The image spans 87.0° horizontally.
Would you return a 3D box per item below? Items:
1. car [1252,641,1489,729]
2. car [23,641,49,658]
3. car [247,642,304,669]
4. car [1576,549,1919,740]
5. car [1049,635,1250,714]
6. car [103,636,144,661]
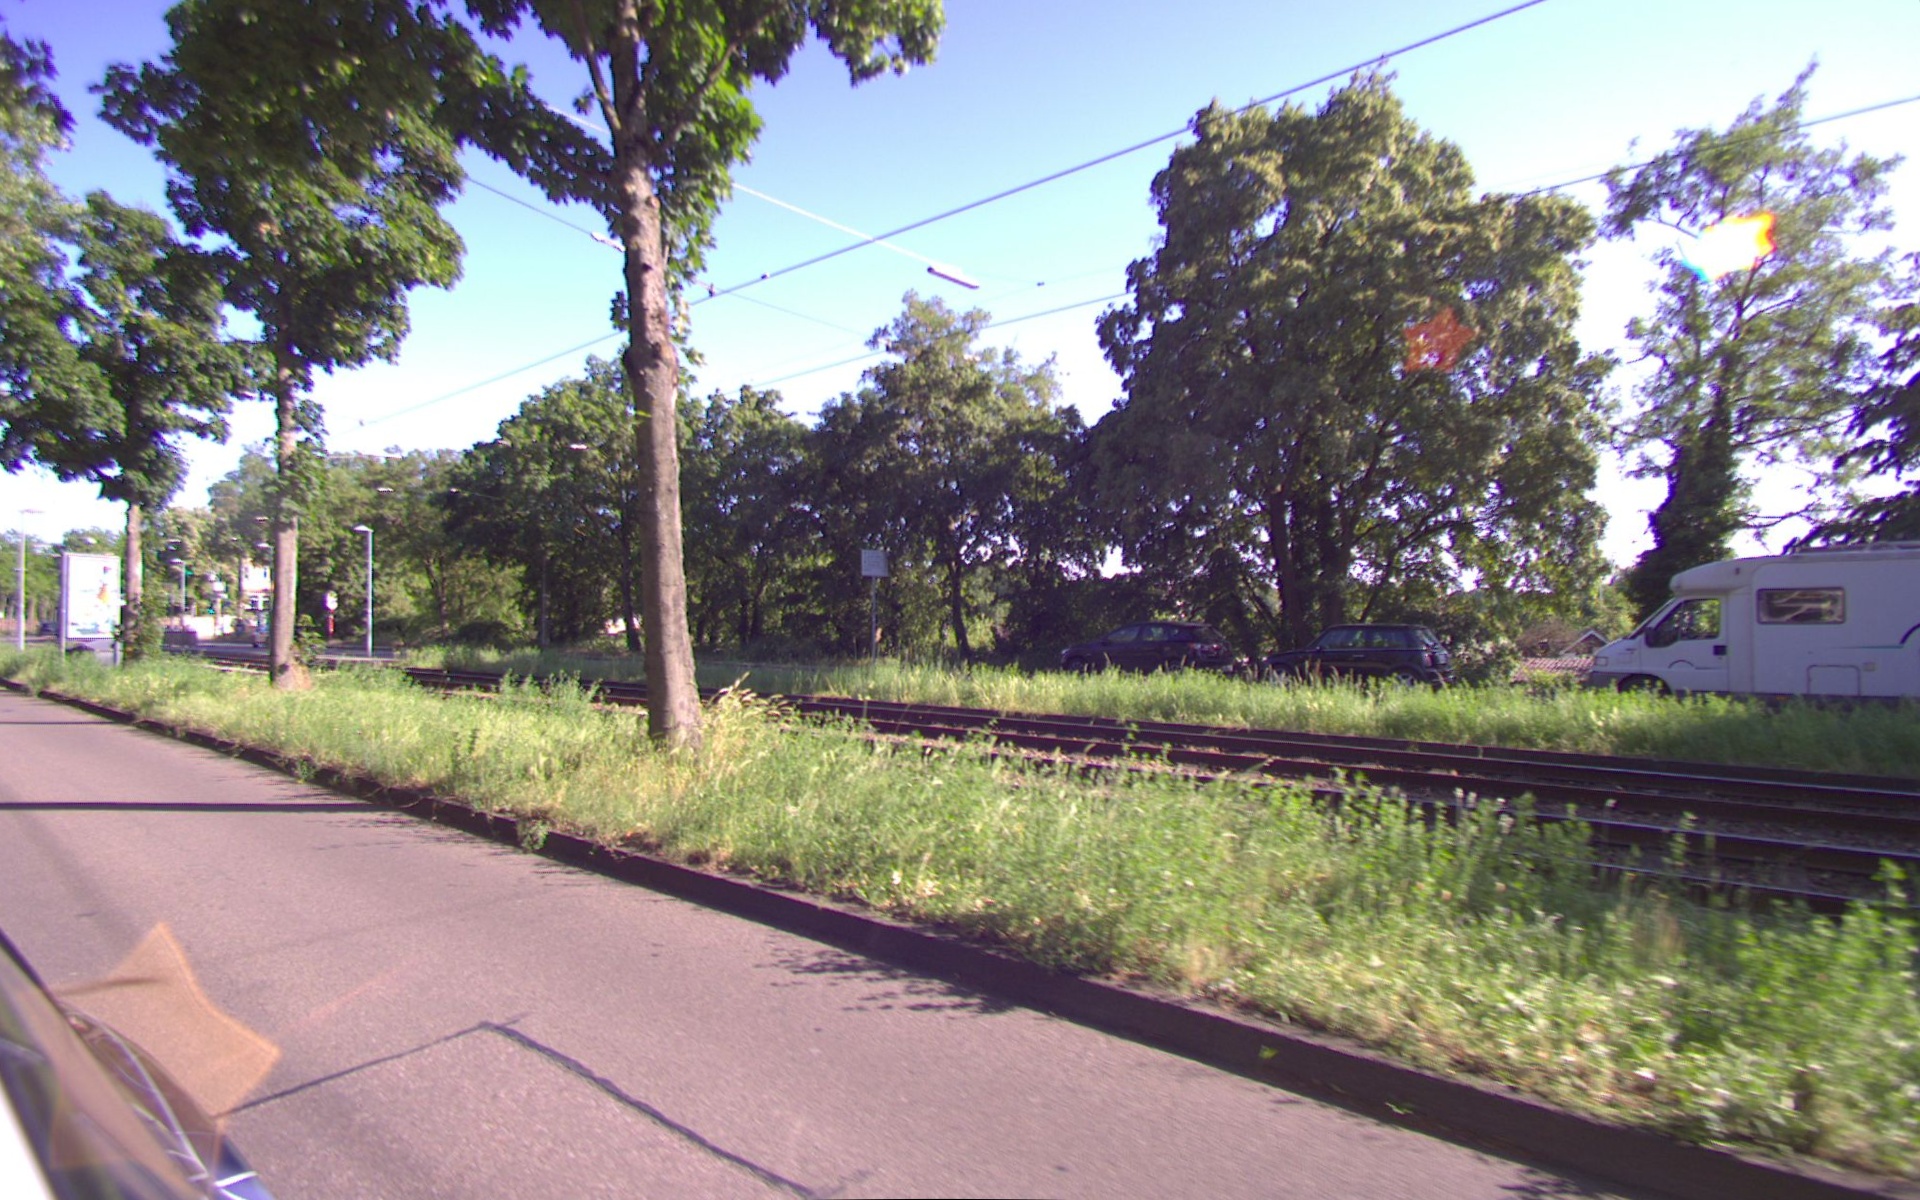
[{"bbox_3d":[8.019,1.587,19.963,3.999,1.445,1.692,-1,0,42],"label":"car"},{"bbox_3d":[-94.126,5.009,103.111,3.672,1.569,1.592,-1,0,41],"label":"car"},{"bbox_3d":[-39.843,3.215,58.884,4.591,1.506,1.619,-1,-4,42],"label":"car"},{"bbox_3d":[13.289,0.611,14.984,6.794,2.600,2.203,-2,-1,41],"label":"car"},{"bbox_3d":[4.280,1.636,23.321,4.282,1.575,1.748,-1,-1,43],"label":"car"},{"bbox_3d":[-57.342,3.311,69.327,3.672,1.569,1.592,-1,0,41],"label":"car"}]
